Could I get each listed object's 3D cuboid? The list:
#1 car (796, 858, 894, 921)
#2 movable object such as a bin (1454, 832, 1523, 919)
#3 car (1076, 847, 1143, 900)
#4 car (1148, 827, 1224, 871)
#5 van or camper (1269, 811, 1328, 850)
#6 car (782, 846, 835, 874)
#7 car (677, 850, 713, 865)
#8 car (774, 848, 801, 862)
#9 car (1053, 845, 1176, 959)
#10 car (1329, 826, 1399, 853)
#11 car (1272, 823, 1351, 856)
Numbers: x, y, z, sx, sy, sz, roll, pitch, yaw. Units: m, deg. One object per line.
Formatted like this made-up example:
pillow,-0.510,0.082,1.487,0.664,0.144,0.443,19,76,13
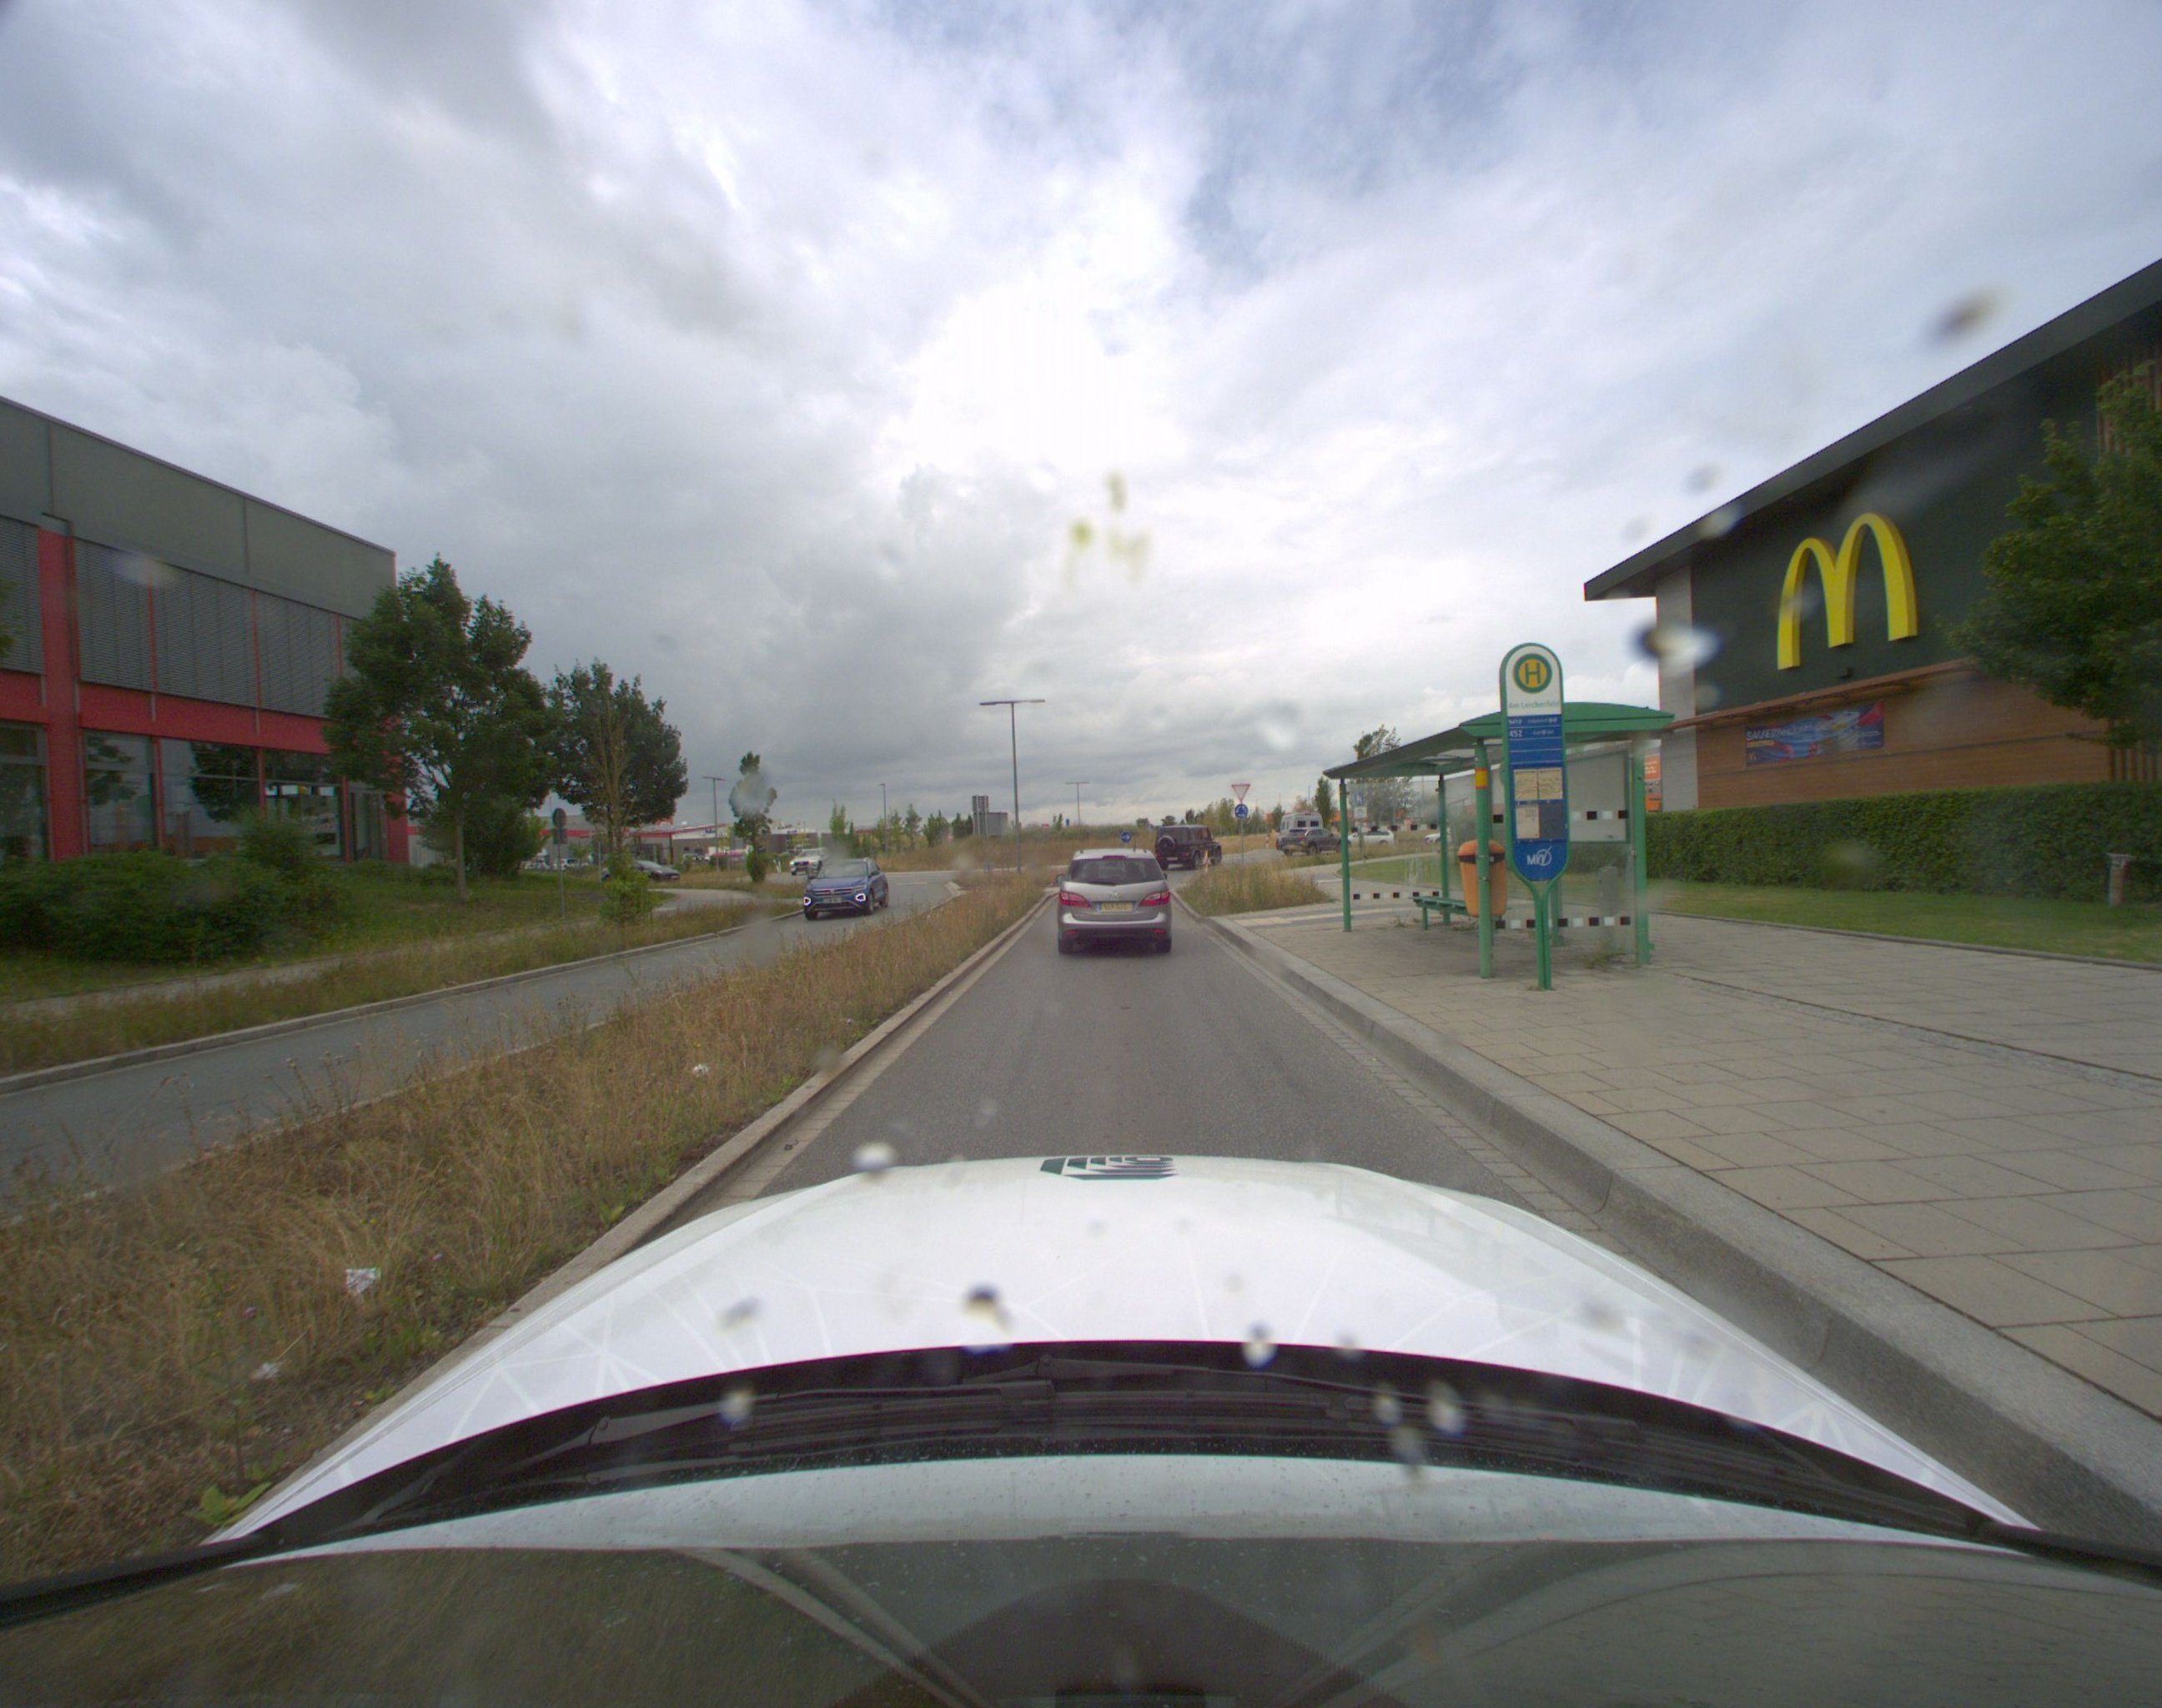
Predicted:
car,-6.675,0.939,23.463,1.839,1.528,4.220,-4,0,-5
movable object such as a bin,3.898,0.201,7.806,0.454,0.798,0.380,-2,0,1
car,0.948,0.530,25.299,1.837,1.418,4.229,-2,1,4
car,4.897,-0.254,37.339,2.039,1.825,4.814,-2,0,25
van or camper,14.735,-1.541,55.516,2.298,2.506,5.199,-2,0,-3
car,-17.946,0.399,53.921,2.020,1.690,4.214,-2,0,0
car,-54.000,0.521,113.995,3.974,2.013,2.000,-2,0,0
car,-40.616,0.110,112.799,1.985,1.859,4.003,-2,0,3
car,0.514,0.668,13.544,1.724,1.600,3.808,-1,1,1
car,20.674,-1.063,59.686,4.571,1.757,2.007,-2,0,12
car,12.898,-0.803,45.486,4.224,1.592,2.042,-4,1,-37
